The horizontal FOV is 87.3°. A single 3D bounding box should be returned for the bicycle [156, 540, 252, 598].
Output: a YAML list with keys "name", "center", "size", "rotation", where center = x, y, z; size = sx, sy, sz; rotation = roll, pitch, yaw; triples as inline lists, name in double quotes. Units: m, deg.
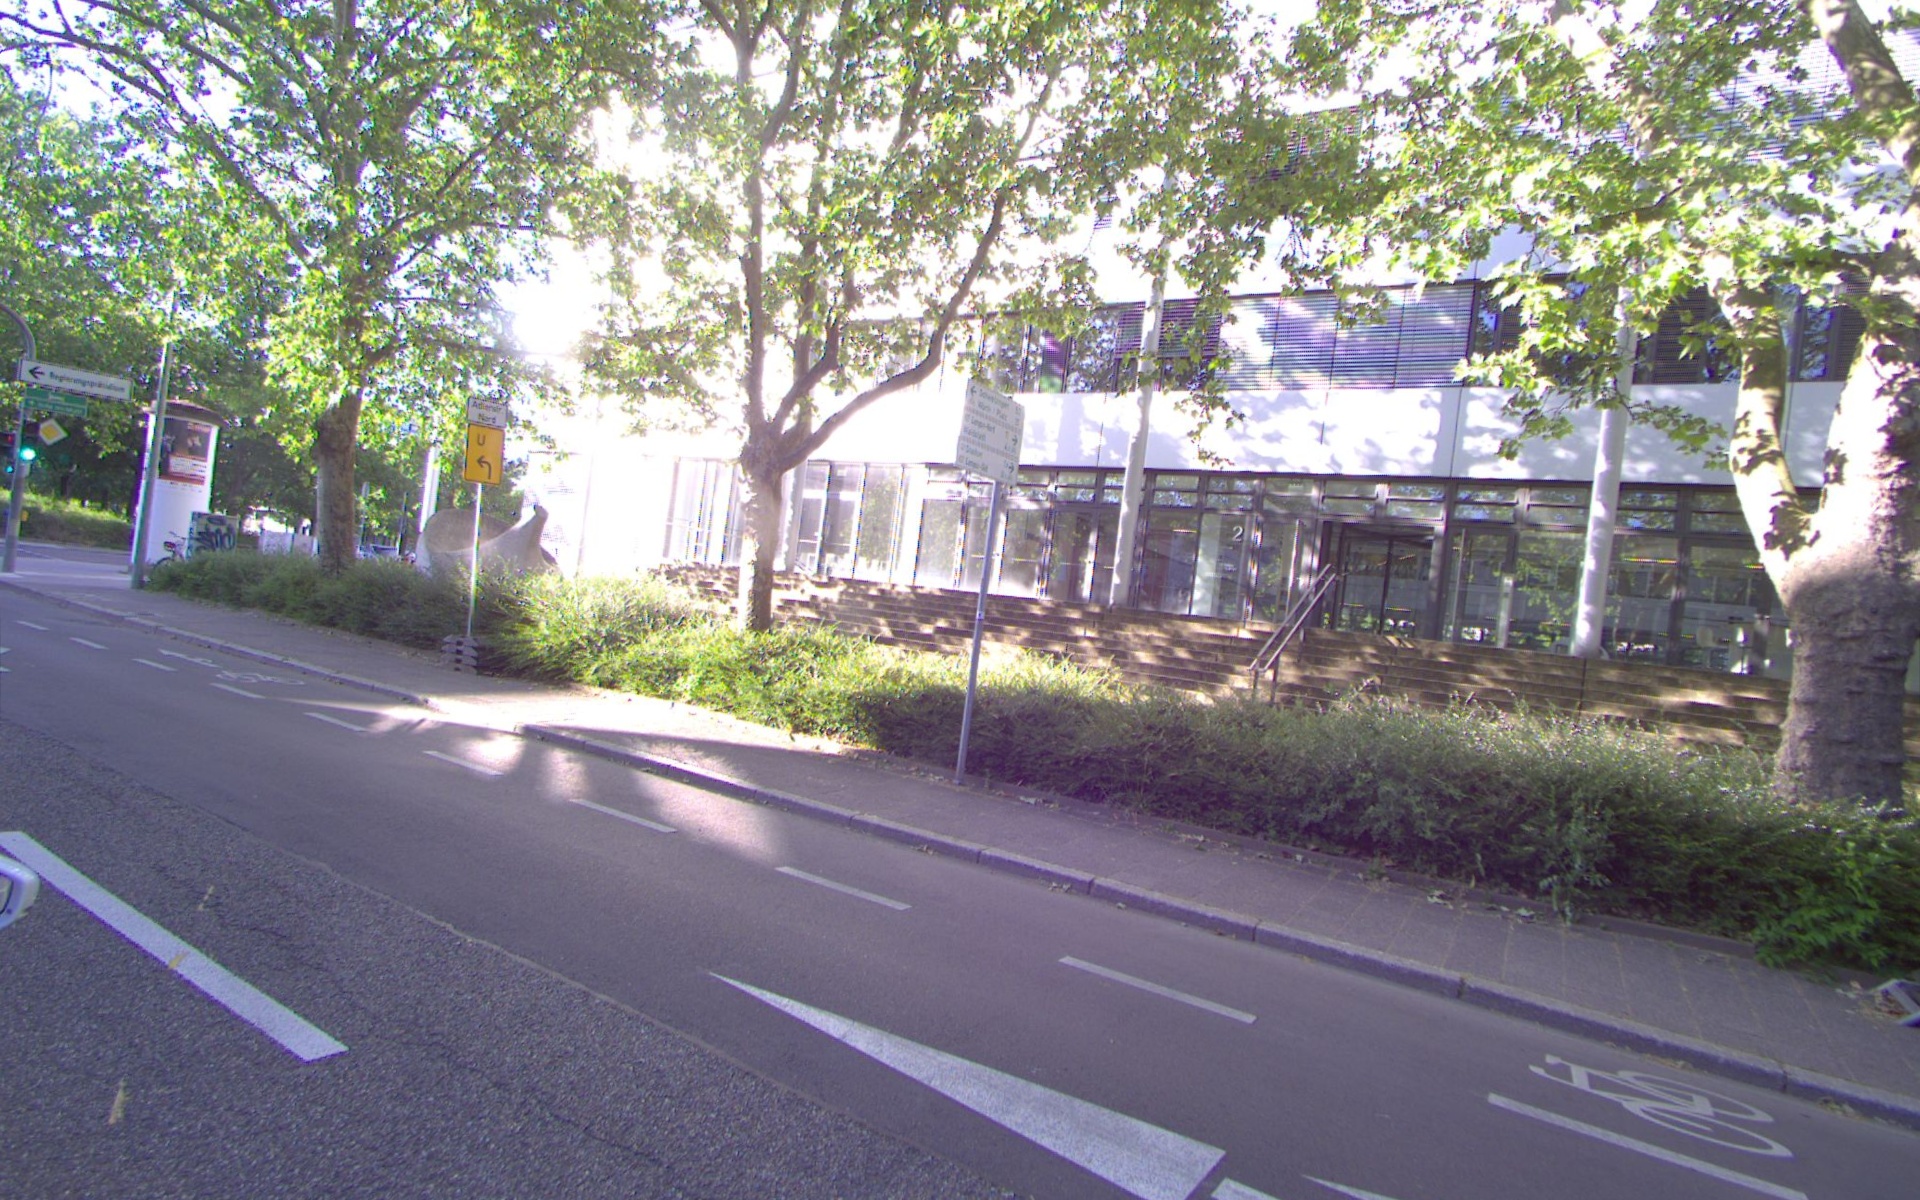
- name: "bicycle"
  center: [-15.929, -0.636, 21.260]
  size: [0.631, 1.040, 1.887]
  rotation: [7, -2, -5]
